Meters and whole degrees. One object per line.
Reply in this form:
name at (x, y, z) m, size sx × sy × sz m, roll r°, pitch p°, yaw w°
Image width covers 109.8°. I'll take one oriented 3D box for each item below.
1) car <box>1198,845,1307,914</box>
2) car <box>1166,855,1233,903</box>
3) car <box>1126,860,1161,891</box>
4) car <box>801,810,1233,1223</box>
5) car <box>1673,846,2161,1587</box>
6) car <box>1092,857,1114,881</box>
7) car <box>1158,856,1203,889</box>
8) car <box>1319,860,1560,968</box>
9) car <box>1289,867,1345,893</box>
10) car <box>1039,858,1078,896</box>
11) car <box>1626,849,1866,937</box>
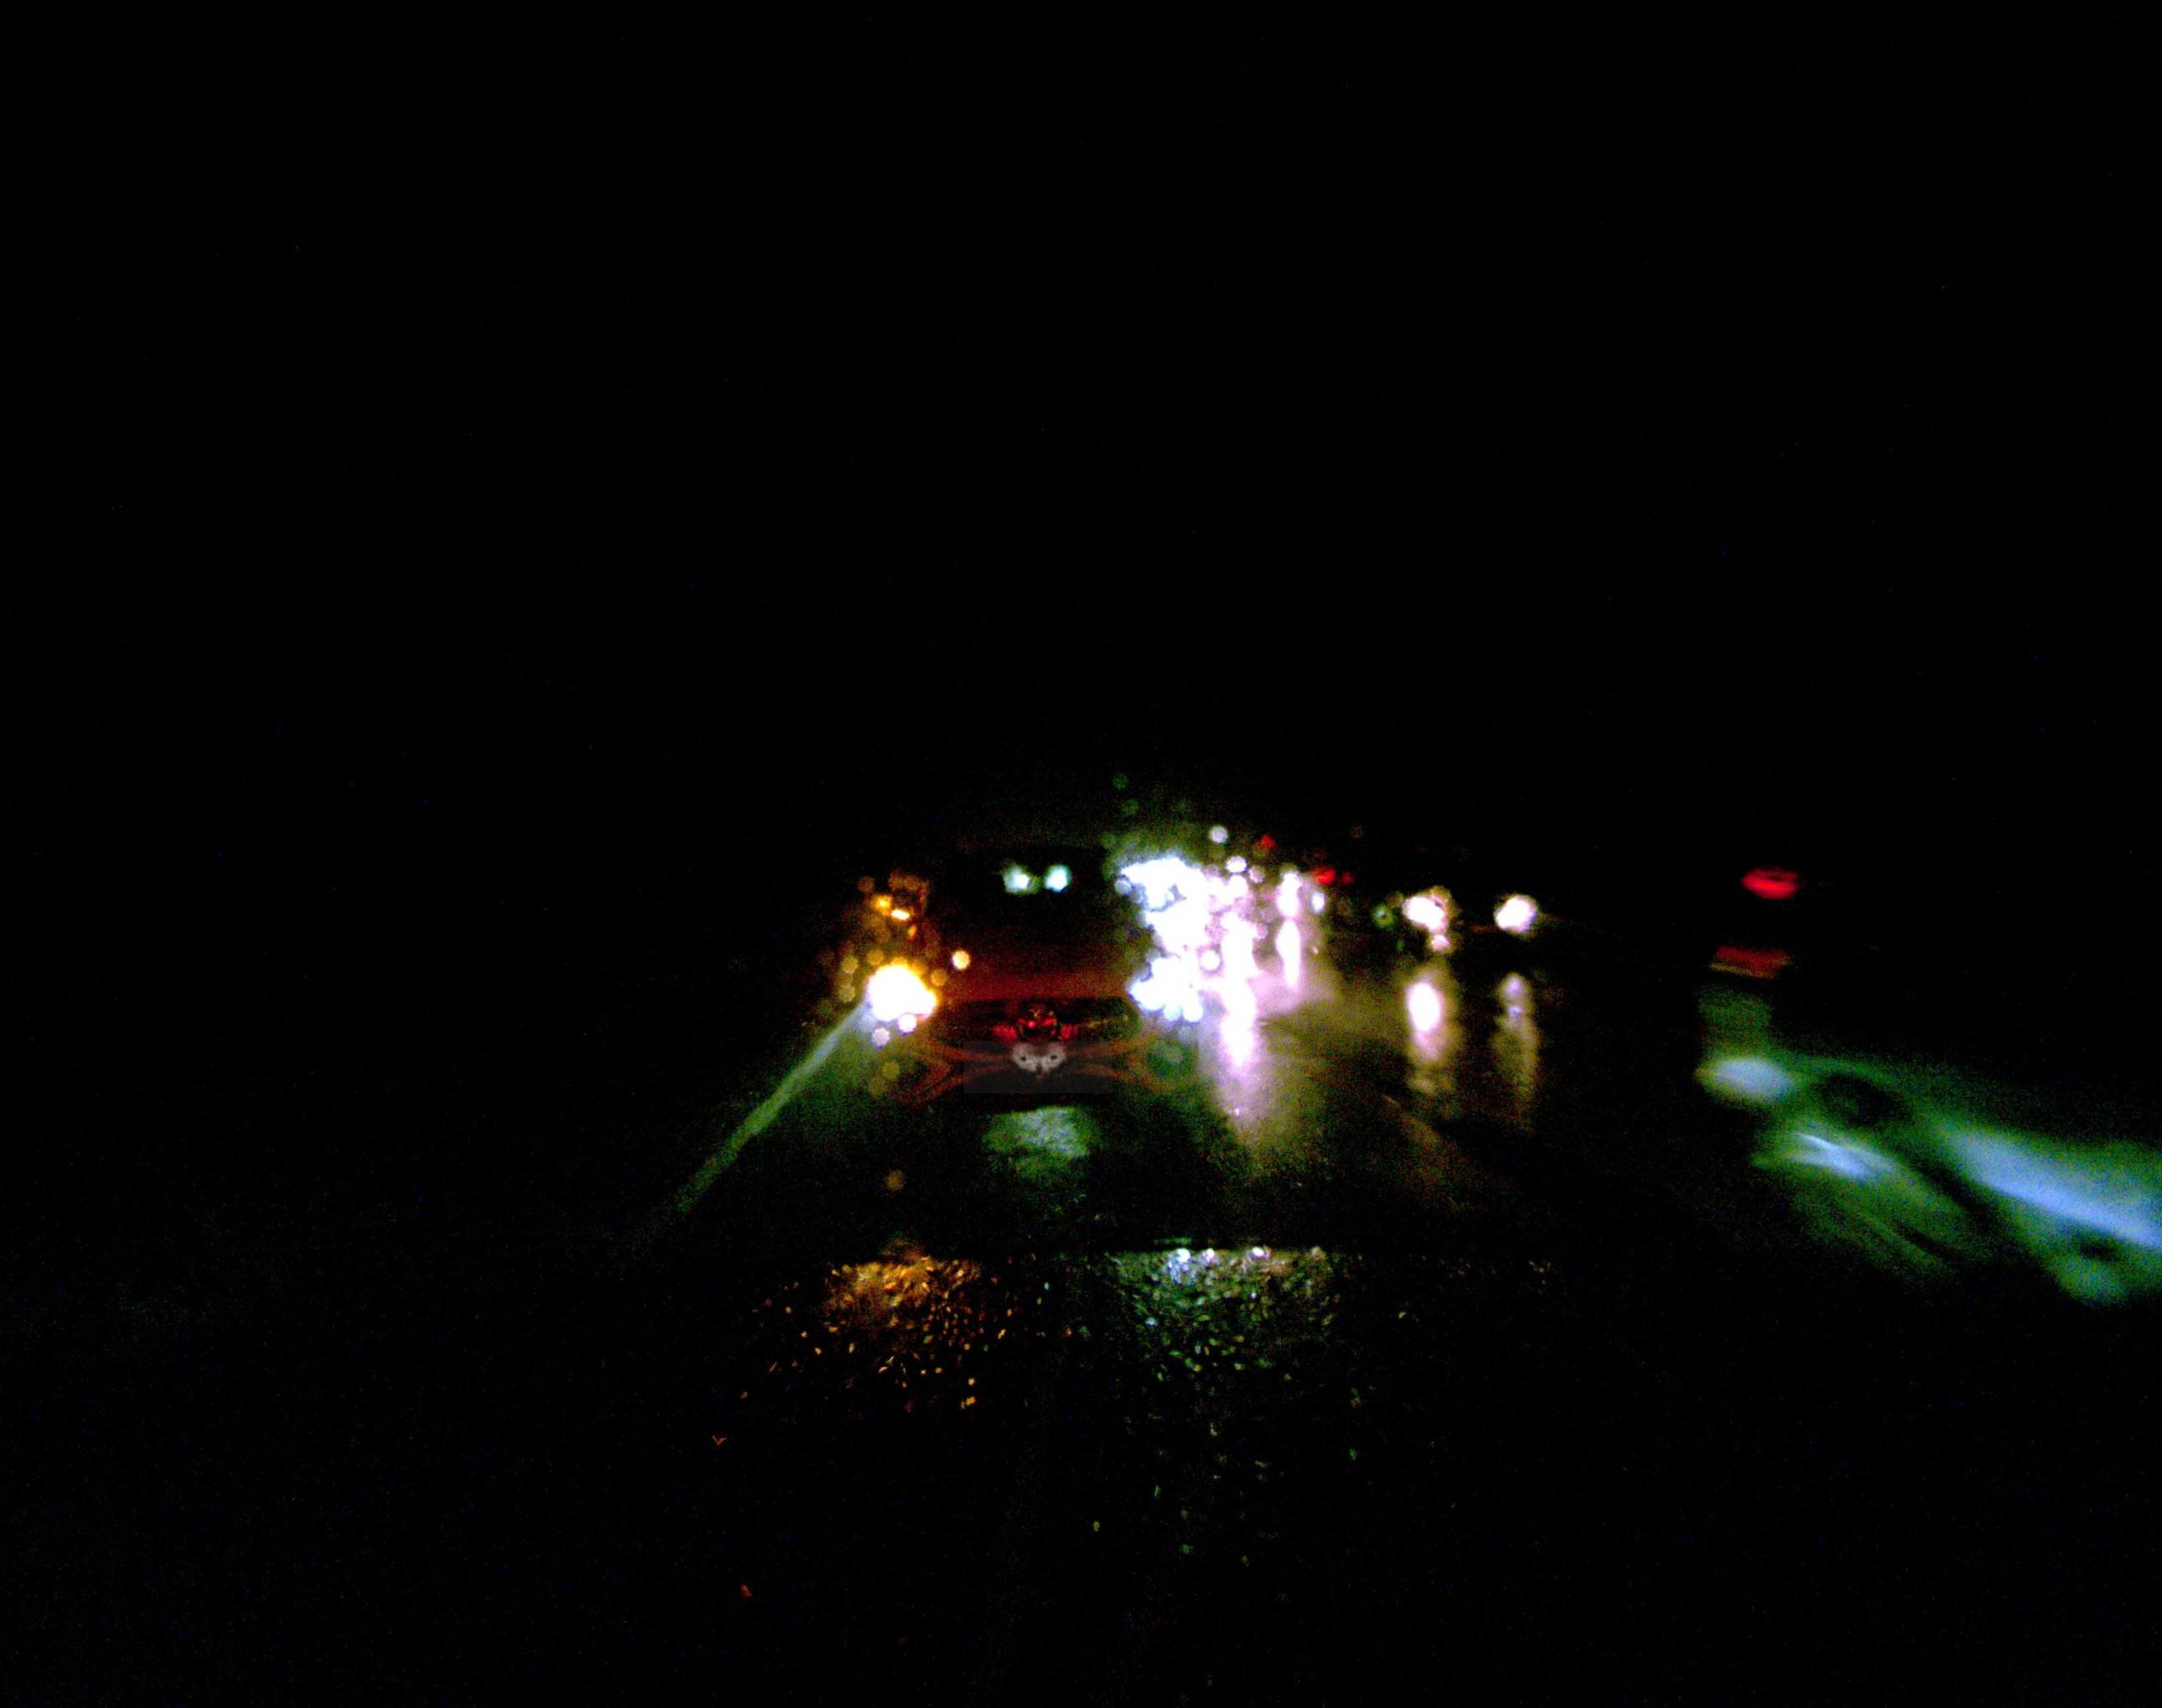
car at (4.956, 0.665, 22.680) m, size 1.999 × 1.783 × 4.720 m, roll -2°, pitch 1°, yaw -2°
car at (4.497, 0.905, 29.319) m, size 1.788 × 1.586 × 4.236 m, roll -1°, pitch 1°, yaw -2°
car at (3.893, 1.311, 47.944) m, size 1.746 × 1.791 × 4.080 m, roll -2°, pitch 1°, yaw -1°
car at (-0.359, 0.744, 5.816) m, size 2.003 × 1.914 × 4.368 m, roll -2°, pitch 1°, yaw -2°
car at (3.378, 0.806, 0.958) m, size 1.856 × 1.582 × 4.020 m, roll -2°, pitch 1°, yaw -7°
car at (1.907, 1.251, 65.524) m, size 1.781 × 1.820 × 4.557 m, roll -2°, pitch 1°, yaw 1°
car at (4.913, 0.869, 38.021) m, size 1.680 × 1.437 × 4.174 m, roll -2°, pitch 1°, yaw 0°
car at (5.496, 0.829, 12.329) m, size 1.835 × 1.399 × 4.121 m, roll -2°, pitch -1°, yaw -2°
car at (13.503, 1.466, 43.700) m, size 1.637 × 1.289 × 3.879 m, roll -2°, pitch 1°, yaw -6°
car at (-1.092, 1.029, 35.933) m, size 1.656 × 1.624 × 3.948 m, roll -2°, pitch 0°, yaw -4°
car at (15.813, 0.815, 18.423) m, size 1.999 × 1.824 × 4.205 m, roll -2°, pitch 1°, yaw -3°
